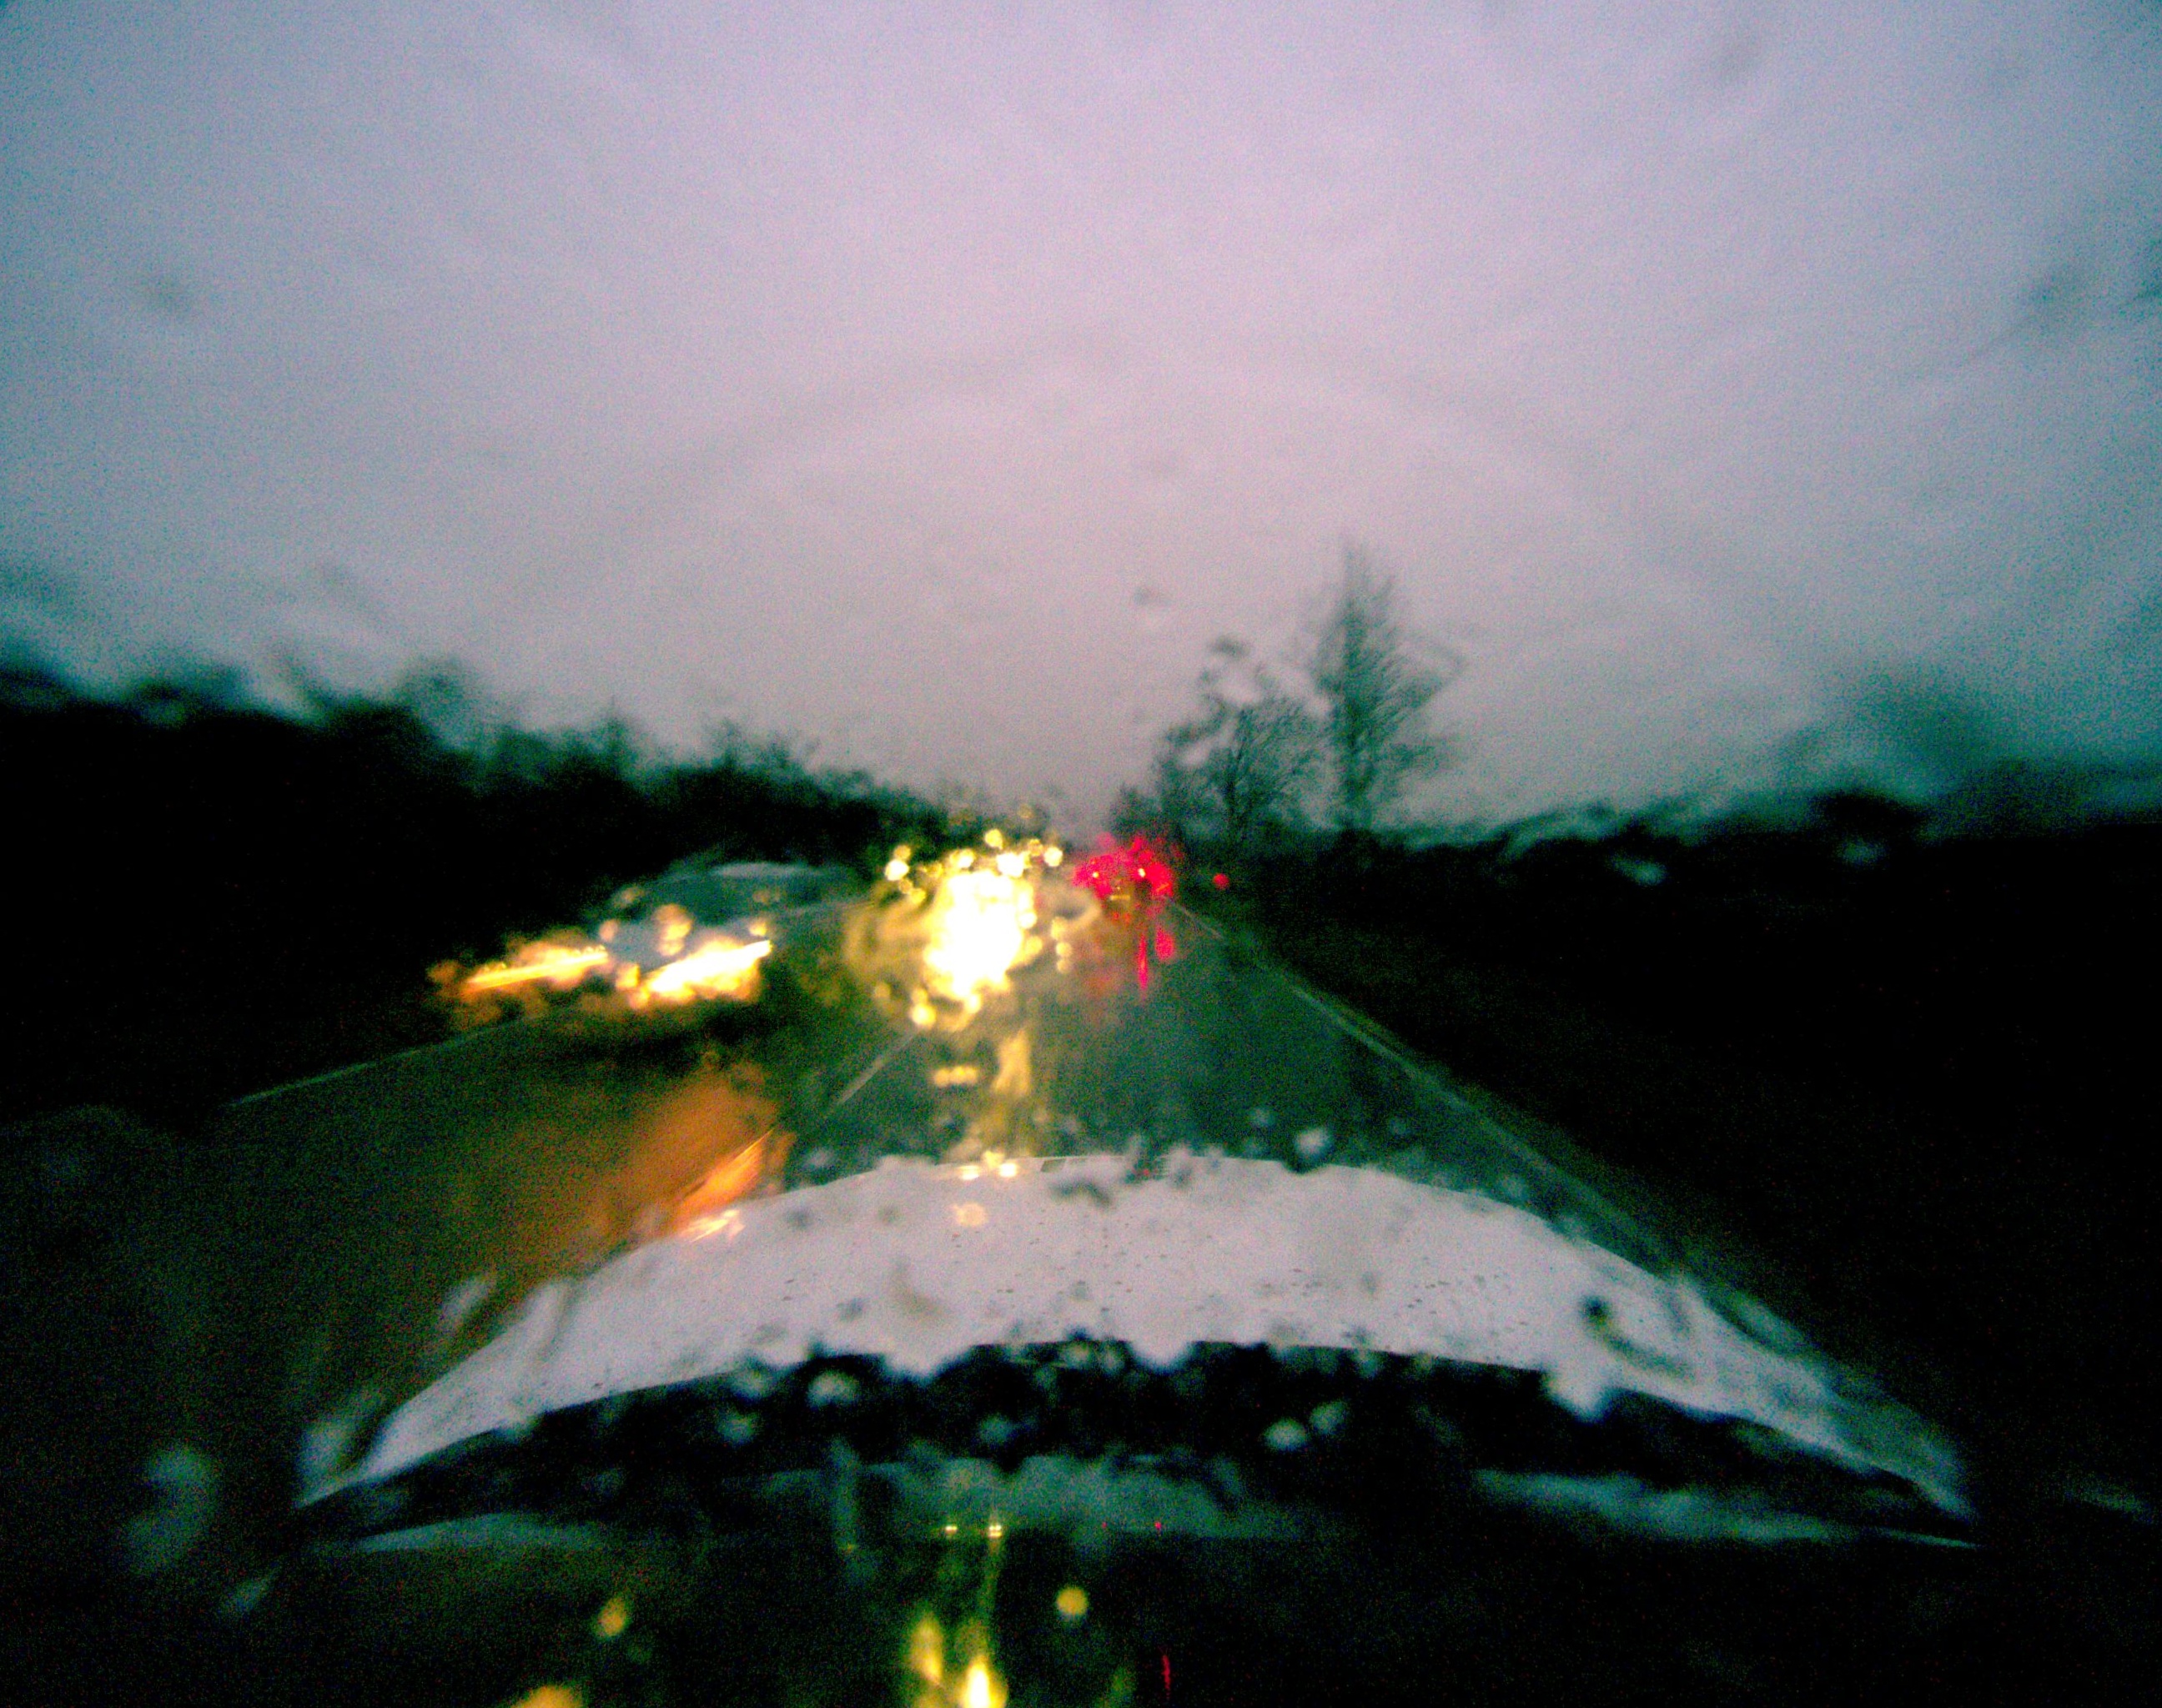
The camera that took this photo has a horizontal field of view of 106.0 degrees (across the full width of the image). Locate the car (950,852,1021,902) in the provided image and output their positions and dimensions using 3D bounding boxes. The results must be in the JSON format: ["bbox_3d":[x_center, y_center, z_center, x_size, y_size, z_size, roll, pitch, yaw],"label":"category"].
[{"bbox_3d":[-3.280,0.749,28.871,1.751,1.640,4.688,0,0,2],"label":"car"}]

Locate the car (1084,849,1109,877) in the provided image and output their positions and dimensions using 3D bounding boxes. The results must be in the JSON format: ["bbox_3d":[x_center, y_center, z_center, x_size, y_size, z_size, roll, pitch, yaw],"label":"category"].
[{"bbox_3d":[1.070,0.575,55.974,1.568,1.875,3.712,0,0,3],"label":"car"}]

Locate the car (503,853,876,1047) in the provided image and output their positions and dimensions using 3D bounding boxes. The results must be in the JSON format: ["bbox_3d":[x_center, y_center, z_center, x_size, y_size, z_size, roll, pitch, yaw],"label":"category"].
[{"bbox_3d":[-3.584,0.751,8.430,1.819,1.498,4.095,-1,0,1],"label":"car"}]

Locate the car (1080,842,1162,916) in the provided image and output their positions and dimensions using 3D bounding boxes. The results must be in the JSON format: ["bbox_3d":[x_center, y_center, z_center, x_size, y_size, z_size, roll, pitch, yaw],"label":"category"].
[{"bbox_3d":[1.079,0.605,21.747,1.985,1.784,4.003,0,0,3],"label":"car"}]

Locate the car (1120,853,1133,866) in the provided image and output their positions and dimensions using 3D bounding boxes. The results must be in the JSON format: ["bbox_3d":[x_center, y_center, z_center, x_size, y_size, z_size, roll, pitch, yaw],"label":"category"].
[{"bbox_3d":[5.772,0.660,103.254,1.556,1.591,3.493,0,0,5],"label":"car"}]
